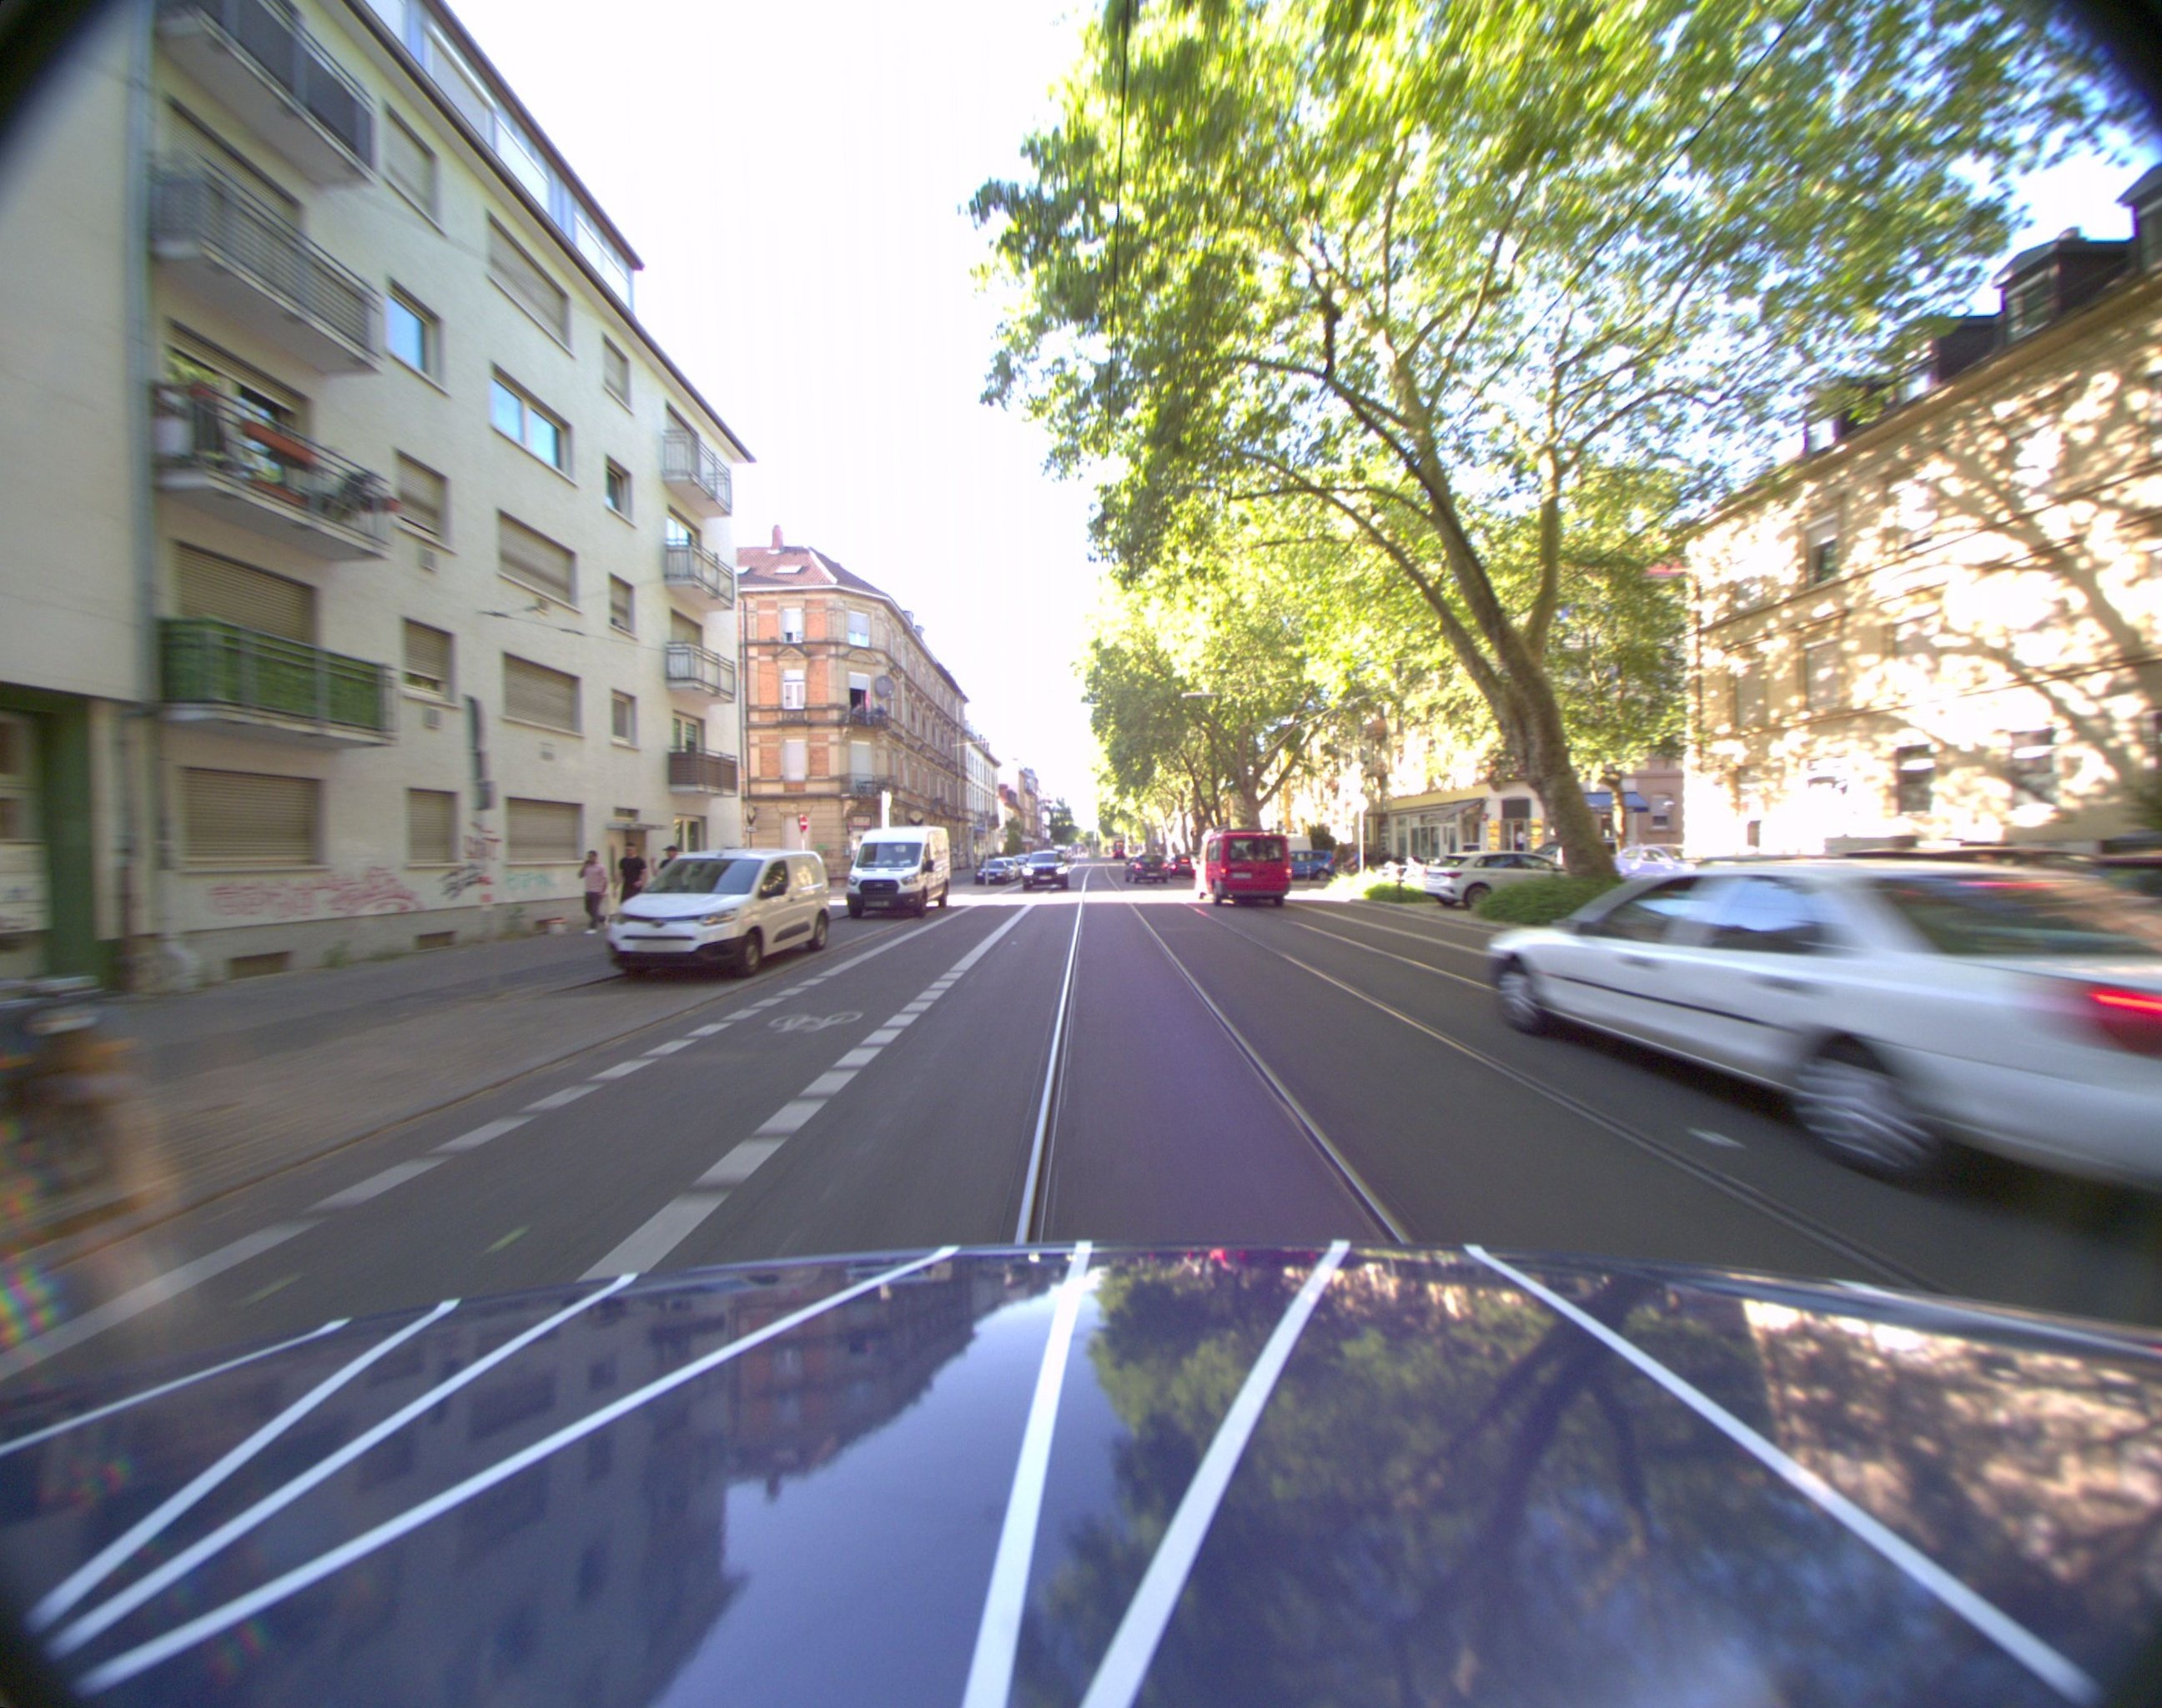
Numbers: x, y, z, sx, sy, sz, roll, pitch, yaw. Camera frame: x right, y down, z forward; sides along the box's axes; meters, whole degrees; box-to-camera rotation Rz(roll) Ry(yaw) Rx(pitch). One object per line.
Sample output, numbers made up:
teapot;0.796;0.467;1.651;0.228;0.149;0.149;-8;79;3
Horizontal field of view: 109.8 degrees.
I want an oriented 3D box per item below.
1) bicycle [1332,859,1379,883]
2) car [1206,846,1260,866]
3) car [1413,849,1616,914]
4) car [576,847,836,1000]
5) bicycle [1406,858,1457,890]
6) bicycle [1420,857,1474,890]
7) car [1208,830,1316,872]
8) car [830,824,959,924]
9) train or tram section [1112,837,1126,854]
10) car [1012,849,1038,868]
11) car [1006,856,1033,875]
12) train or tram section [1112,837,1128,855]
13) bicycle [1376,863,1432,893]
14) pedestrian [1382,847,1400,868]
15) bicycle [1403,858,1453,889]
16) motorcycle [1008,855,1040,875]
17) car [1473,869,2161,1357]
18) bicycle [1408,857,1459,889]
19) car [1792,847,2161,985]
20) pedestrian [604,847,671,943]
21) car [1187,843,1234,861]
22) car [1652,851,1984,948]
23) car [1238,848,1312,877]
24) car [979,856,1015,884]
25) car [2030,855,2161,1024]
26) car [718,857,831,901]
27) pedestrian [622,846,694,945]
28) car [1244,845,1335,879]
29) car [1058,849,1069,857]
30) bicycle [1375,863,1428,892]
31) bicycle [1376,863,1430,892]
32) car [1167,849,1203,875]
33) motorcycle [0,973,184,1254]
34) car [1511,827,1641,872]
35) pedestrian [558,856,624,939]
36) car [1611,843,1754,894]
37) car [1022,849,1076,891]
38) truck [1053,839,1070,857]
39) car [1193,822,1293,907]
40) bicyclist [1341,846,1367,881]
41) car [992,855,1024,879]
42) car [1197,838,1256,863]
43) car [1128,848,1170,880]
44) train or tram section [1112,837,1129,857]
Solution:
bicycle;12.194;0.750;33.820;1.874;1.026;0.628;-1;1;3
car;12.449;0.159;62.343;4.068;1.437;1.869;-3;0;1
car;10.699;0.642;18.958;3.997;1.452;1.879;-1;1;0
car;-5.483;0.874;11.865;1.863;1.810;4.349;2;2;0
bicycle;12.125;0.695;26.298;1.560;1.082;0.397;-1;1;19
bicycle;12.171;0.643;25.295;1.560;1.082;0.397;-1;1;19
car;11.862;-0.185;50.118;6.618;2.394;2.000;-3;0;1
car;-5.221;0.477;22.301;2.154;2.481;6.087;-1;1;0
train or tram section;8.554;-1.957;171.604;2.944;3.598;12.409;-3;1;2
car;-4.453;0.328;60.551;1.610;1.444;3.741;1;1;2
car;-4.452;0.841;55.478;1.653;1.265;3.724;1;1;0
train or tram section;8.113;-1.700;159.777;2.944;3.598;11.258;-3;1;2
bicycle;11.946;0.897;28.151;1.858;1.082;0.397;-1;1;19
pedestrian;18.525;0.193;45.431;0.709;1.234;0.930;-1;1;3
bicycle;12.201;0.683;26.742;1.560;1.082;0.397;-1;1;19
motorcycle;-3.935;0.765;52.505;2.143;1.282;0.642;-2;1;-21
car;4.243;0.844;4.403;1.722;1.351;4.470;-1;1;1
bicycle;11.986;0.646;25.870;1.560;1.082;0.397;-1;1;19
car;11.583;0.678;9.551;4.000;1.452;1.769;-1;1;-8
pedestrian;-8.711;0.778;14.957;0.626;1.812;1.082;0;2;3
car;13.103;-0.208;76.882;4.365;1.603;2.000;-3;0;1
car;11.710;0.669;12.216;3.998;1.361;1.604;-1;1;-5
car;11.101;0.470;43.627;3.779;1.509;1.747;-1;1;-2
car;-4.759;0.884;43.328;1.653;1.412;4.058;1;1;-1
car;11.520;0.732;6.707;3.996;1.452;1.704;-1;1;3
car;-11.965;0.942;29.810;3.659;1.565;1.790;-1;1;0
pedestrian;-8.047;0.757;14.500;0.711;1.812;1.082;0;2;3
car;11.155;0.411;40.840;4.331;1.702;1.816;-1;1;-2
car;-2.921;-0.194;129.751;1.702;1.324;3.686;0;1;2
bicycle;12.323;0.899;29.235;1.858;1.082;0.397;-1;1;19
bicycle;12.191;0.896;28.833;1.858;1.082;0.397;-1;1;19
car;6.230;0.442;45.843;1.639;1.501;3.691;1;1;0
motorcycle;-5.659;1.281;4.059;1.820;1.074;0.618;0;1;24
car;22.962;-0.238;35.404;4.582;1.870;2.128;-1;3;5
pedestrian;-9.852;0.853;15.311;0.633;1.572;0.933;4;2;3
car;18.535;0.409;23.624;1.603;1.452;3.488;-1;1;-2
car;-1.363;0.691;34.504;1.948;1.694;4.631;-2;-1;3
truck;-3.782;-1.183;145.894;2.842;3.145;7.291;-3;1;0
car;4.631;0.262;22.555;1.922;2.214;4.959;1;1;1
bicyclist;12.143;0.420;33.812;0.868;1.517;0.736;-1;1;3
car;-4.667;0.789;48.832;1.606;1.412;4.012;1;1;1
car;12.399;-0.303;64.886;4.639;1.896;1.922;-3;0;0
car;3.409;0.484;38.660;1.722;1.501;3.722;-1;1;0
train or tram section;7.698;-1.508;148.610;2.944;3.598;11.061;-3;1;2
